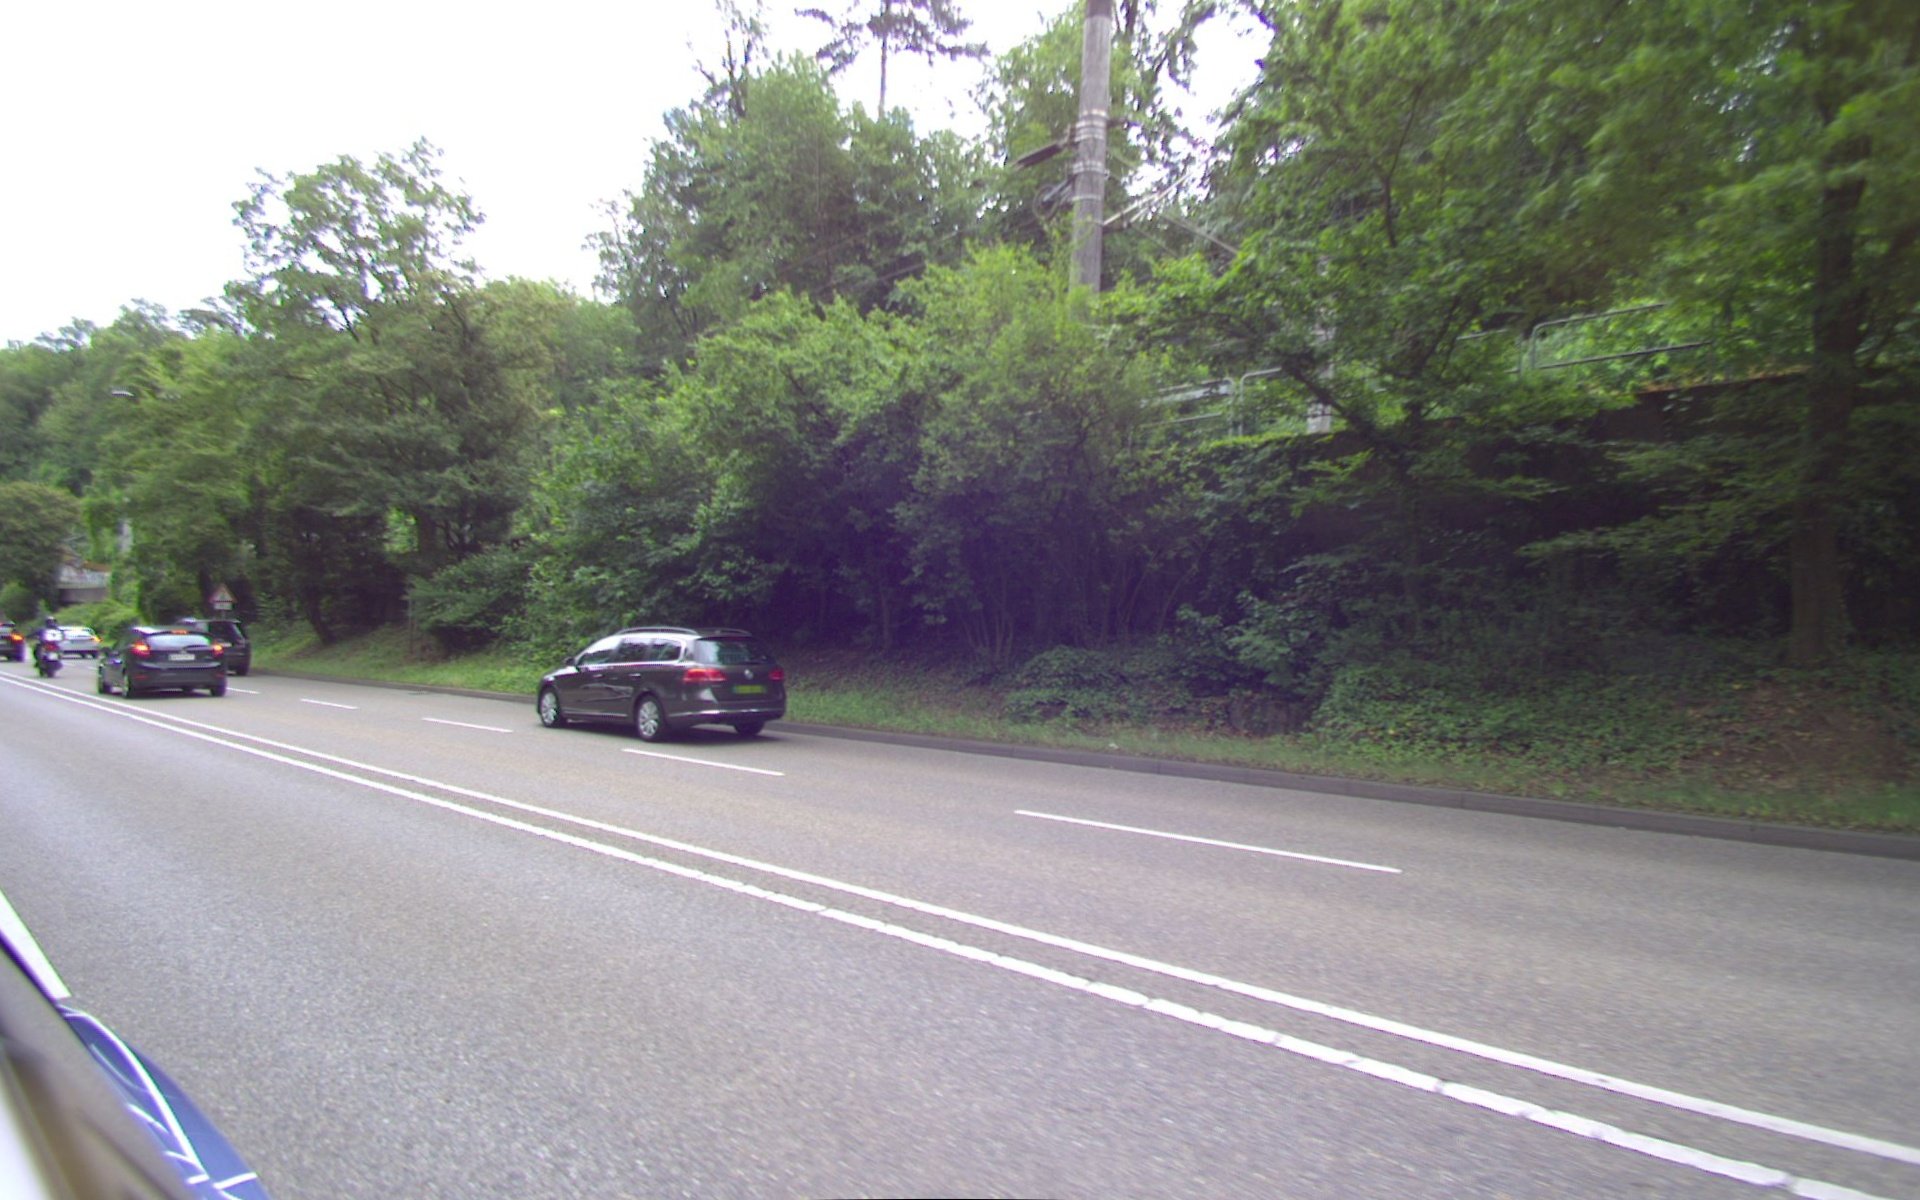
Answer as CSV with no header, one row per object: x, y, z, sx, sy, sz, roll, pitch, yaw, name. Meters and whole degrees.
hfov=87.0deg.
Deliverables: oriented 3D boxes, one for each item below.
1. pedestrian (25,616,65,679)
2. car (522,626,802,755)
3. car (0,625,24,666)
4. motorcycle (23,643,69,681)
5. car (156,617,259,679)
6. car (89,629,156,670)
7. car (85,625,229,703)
-25.478,1.321,28.169,0.829,1.701,0.656,-1,-3,41,pedestrian
-4.350,1.167,14.392,4.431,1.522,1.714,-1,-3,42,car
-39.443,1.820,41.027,3.998,1.564,1.779,-1,0,41,car
-25.540,1.721,28.272,2.025,1.007,0.692,-1,-3,41,motorcycle
-23.336,1.463,31.335,4.133,1.786,1.640,-1,-4,41,car
-35.440,2.060,42.786,3.998,1.564,1.552,-1,0,41,car
-16.965,1.273,21.321,3.998,1.472,1.669,-1,-2,41,car
